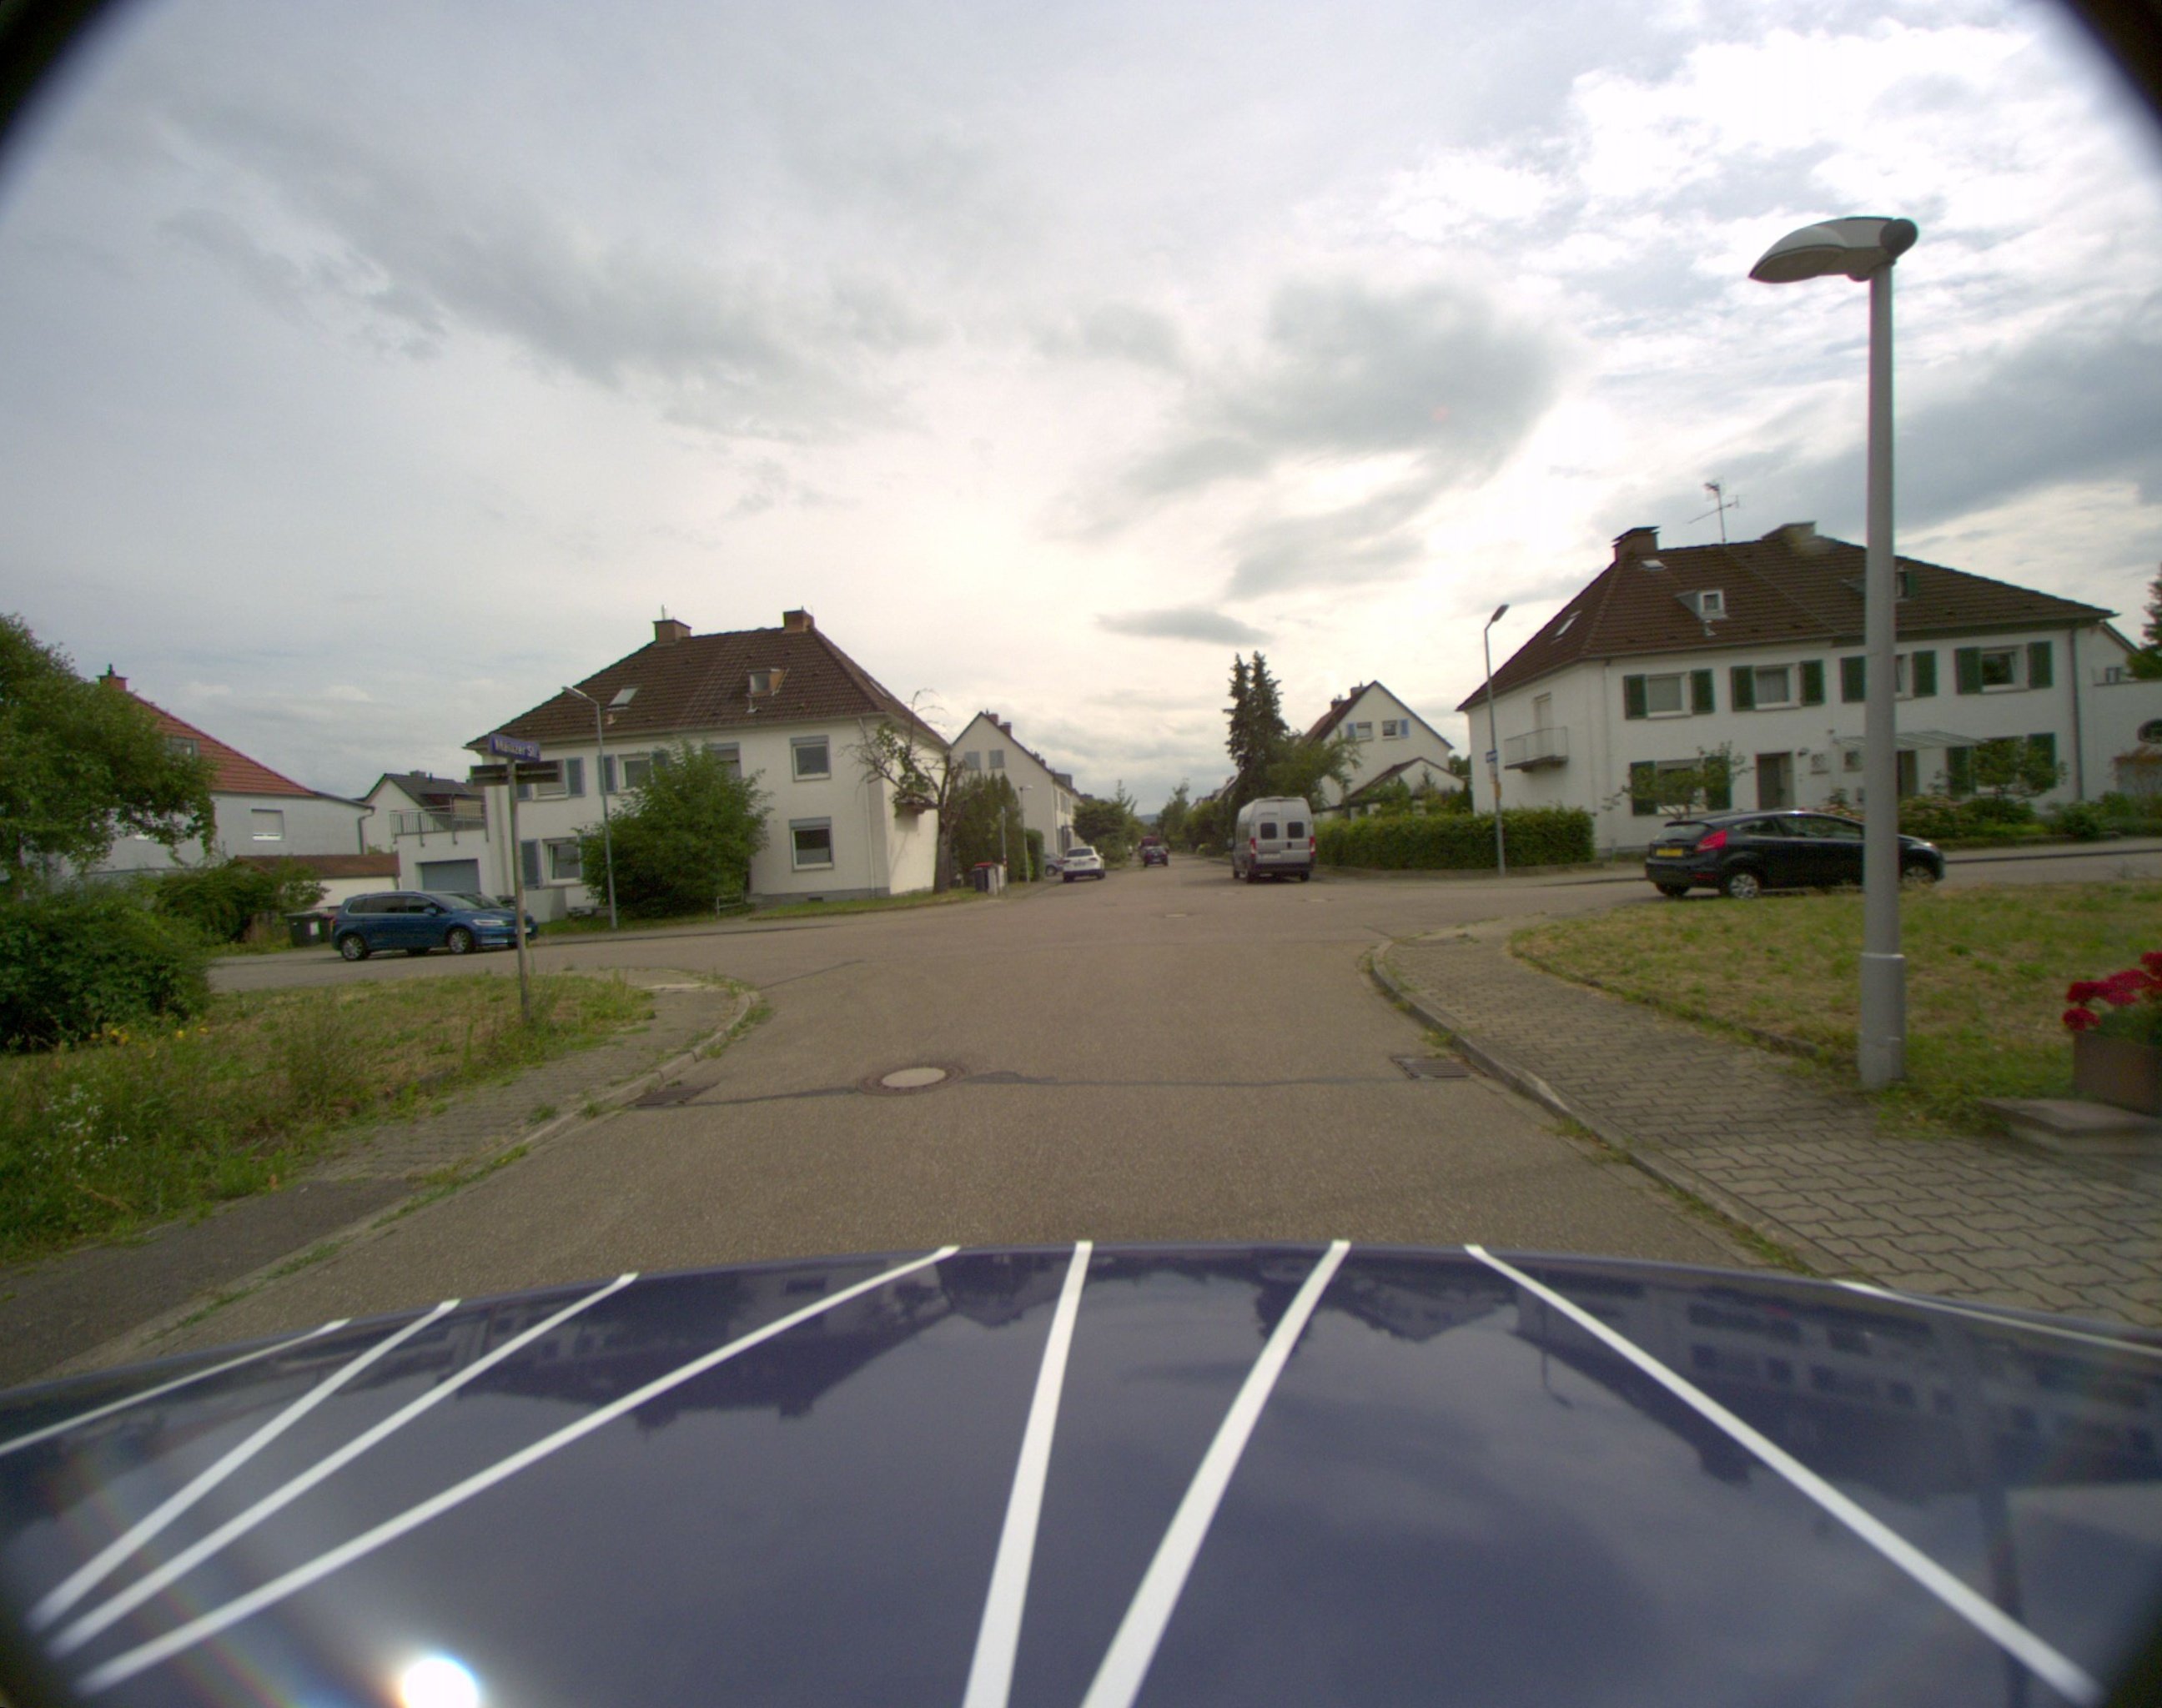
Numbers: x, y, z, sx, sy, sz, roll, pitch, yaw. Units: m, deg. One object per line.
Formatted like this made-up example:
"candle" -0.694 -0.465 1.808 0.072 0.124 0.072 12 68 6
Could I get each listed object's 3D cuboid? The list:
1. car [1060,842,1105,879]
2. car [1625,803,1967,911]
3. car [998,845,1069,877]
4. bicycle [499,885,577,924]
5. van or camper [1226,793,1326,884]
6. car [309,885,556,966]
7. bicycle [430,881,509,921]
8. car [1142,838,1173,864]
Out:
"car" 0.122 0.279 36.863 1.998 1.590 4.000 -4 1 1
"car" 11.657 0.041 12.623 3.881 1.433 1.722 -4 1 4
"car" -2.902 0.404 46.745 3.995 1.696 2.000 -4 1 6
"bicycle" -17.779 1.650 24.901 2.168 1.128 0.572 -4 1 5
"van or camper" 6.656 -0.544 26.672 2.346 2.719 5.748 -4 1 5
"car" -16.048 1.754 18.955 4.540 1.561 2.000 -4 1 6
"bicycle" -20.143 1.544 25.038 2.168 1.128 0.572 -4 1 5
"car" 5.744 -0.258 56.499 1.997 1.696 4.002 -3 1 8
